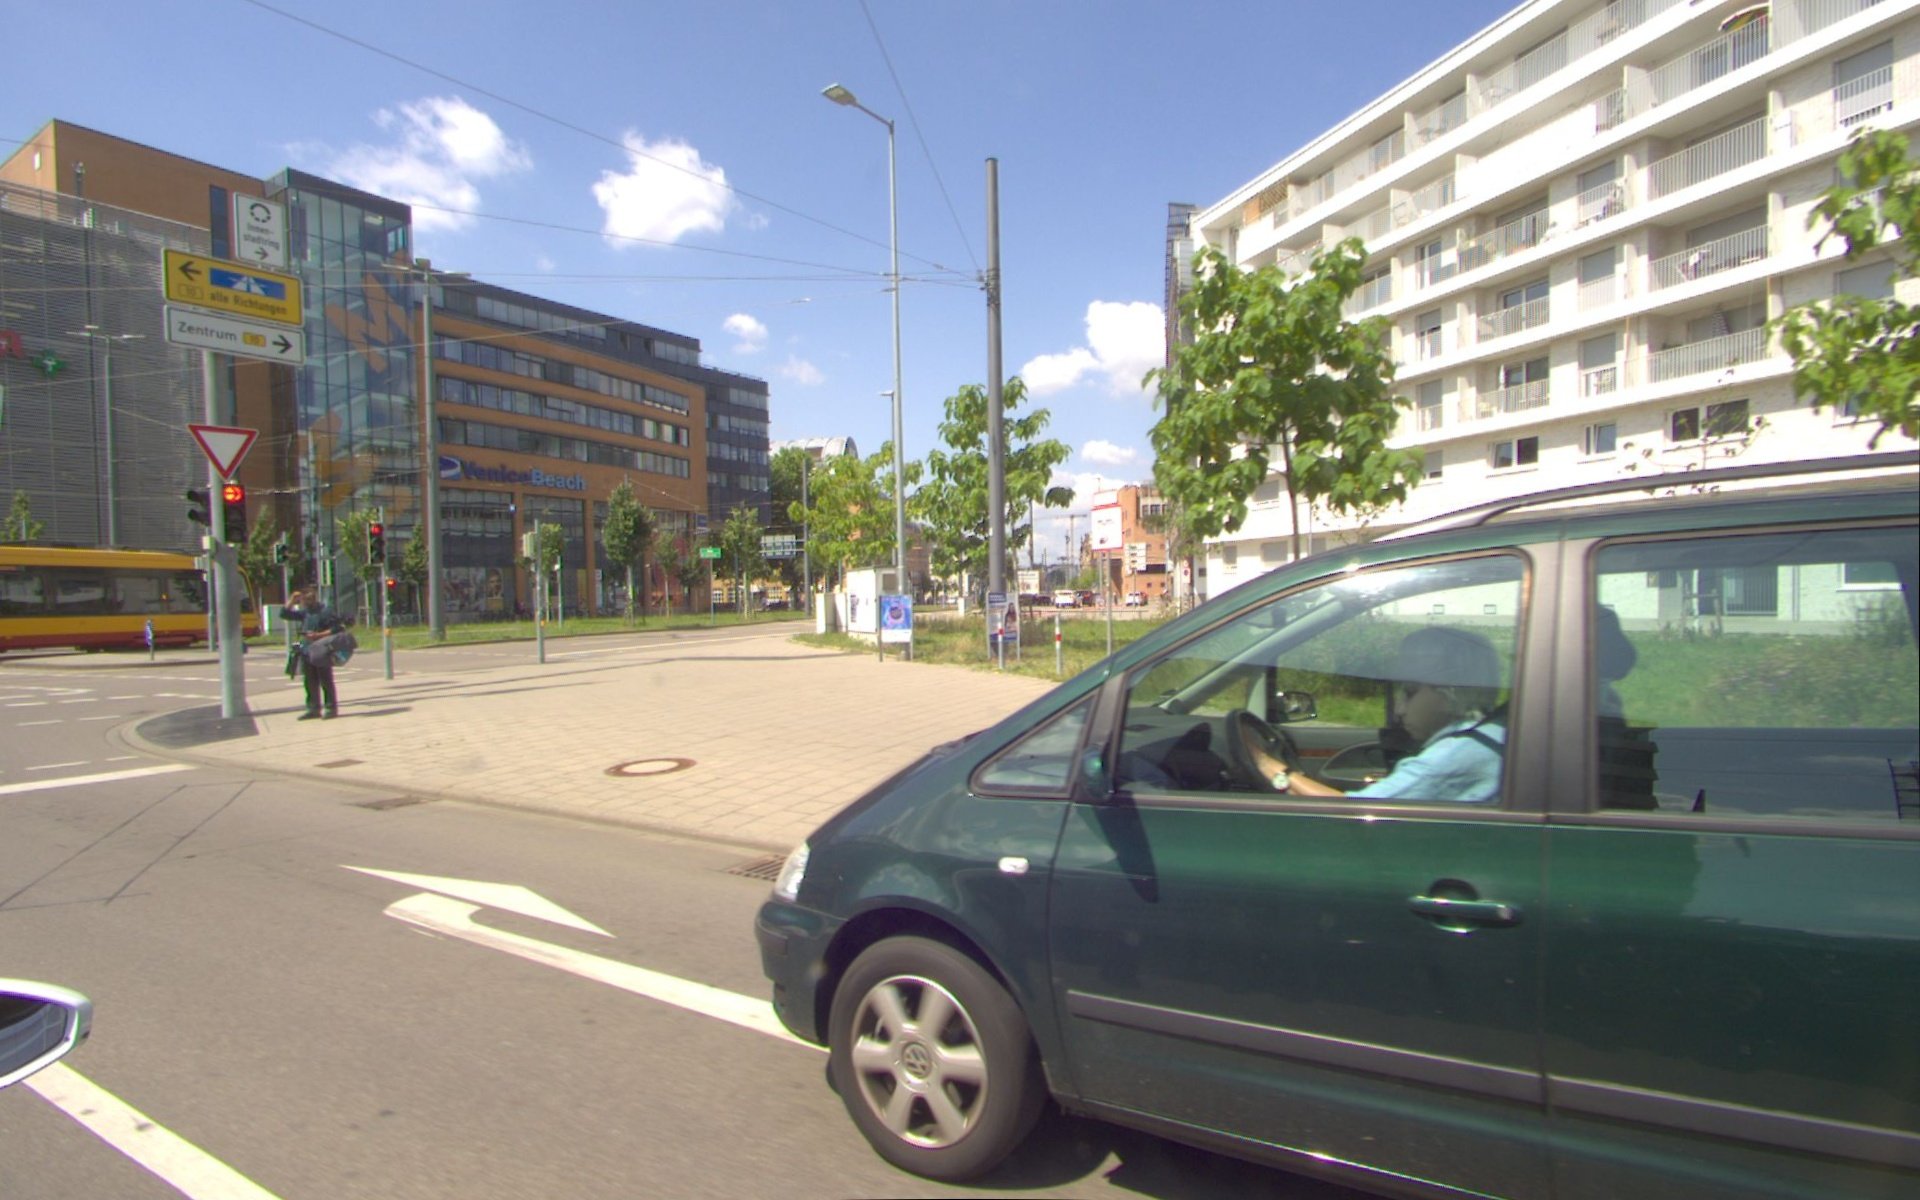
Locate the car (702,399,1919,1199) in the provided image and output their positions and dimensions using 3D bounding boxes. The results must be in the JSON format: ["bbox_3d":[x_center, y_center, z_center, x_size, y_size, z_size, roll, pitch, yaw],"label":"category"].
[{"bbox_3d":[1.824,0.585,2.444,4.958,1.779,1.816,-1,-1,31],"label":"car"}]

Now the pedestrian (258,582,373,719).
[{"bbox_3d":[-8.432,0.639,13.138,0.901,1.725,0.808,-2,2,5],"label":"pedestrian"}]

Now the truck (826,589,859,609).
[{"bbox_3d":[-12.914,-0.058,110.585,1.962,2.113,5.520,0,0,11],"label":"truck"}]

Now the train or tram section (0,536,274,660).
[{"bbox_3d":[-29.273,-0.026,32.702,3.008,3.668,12.625,0,0,13],"label":"train or tram section"}]
